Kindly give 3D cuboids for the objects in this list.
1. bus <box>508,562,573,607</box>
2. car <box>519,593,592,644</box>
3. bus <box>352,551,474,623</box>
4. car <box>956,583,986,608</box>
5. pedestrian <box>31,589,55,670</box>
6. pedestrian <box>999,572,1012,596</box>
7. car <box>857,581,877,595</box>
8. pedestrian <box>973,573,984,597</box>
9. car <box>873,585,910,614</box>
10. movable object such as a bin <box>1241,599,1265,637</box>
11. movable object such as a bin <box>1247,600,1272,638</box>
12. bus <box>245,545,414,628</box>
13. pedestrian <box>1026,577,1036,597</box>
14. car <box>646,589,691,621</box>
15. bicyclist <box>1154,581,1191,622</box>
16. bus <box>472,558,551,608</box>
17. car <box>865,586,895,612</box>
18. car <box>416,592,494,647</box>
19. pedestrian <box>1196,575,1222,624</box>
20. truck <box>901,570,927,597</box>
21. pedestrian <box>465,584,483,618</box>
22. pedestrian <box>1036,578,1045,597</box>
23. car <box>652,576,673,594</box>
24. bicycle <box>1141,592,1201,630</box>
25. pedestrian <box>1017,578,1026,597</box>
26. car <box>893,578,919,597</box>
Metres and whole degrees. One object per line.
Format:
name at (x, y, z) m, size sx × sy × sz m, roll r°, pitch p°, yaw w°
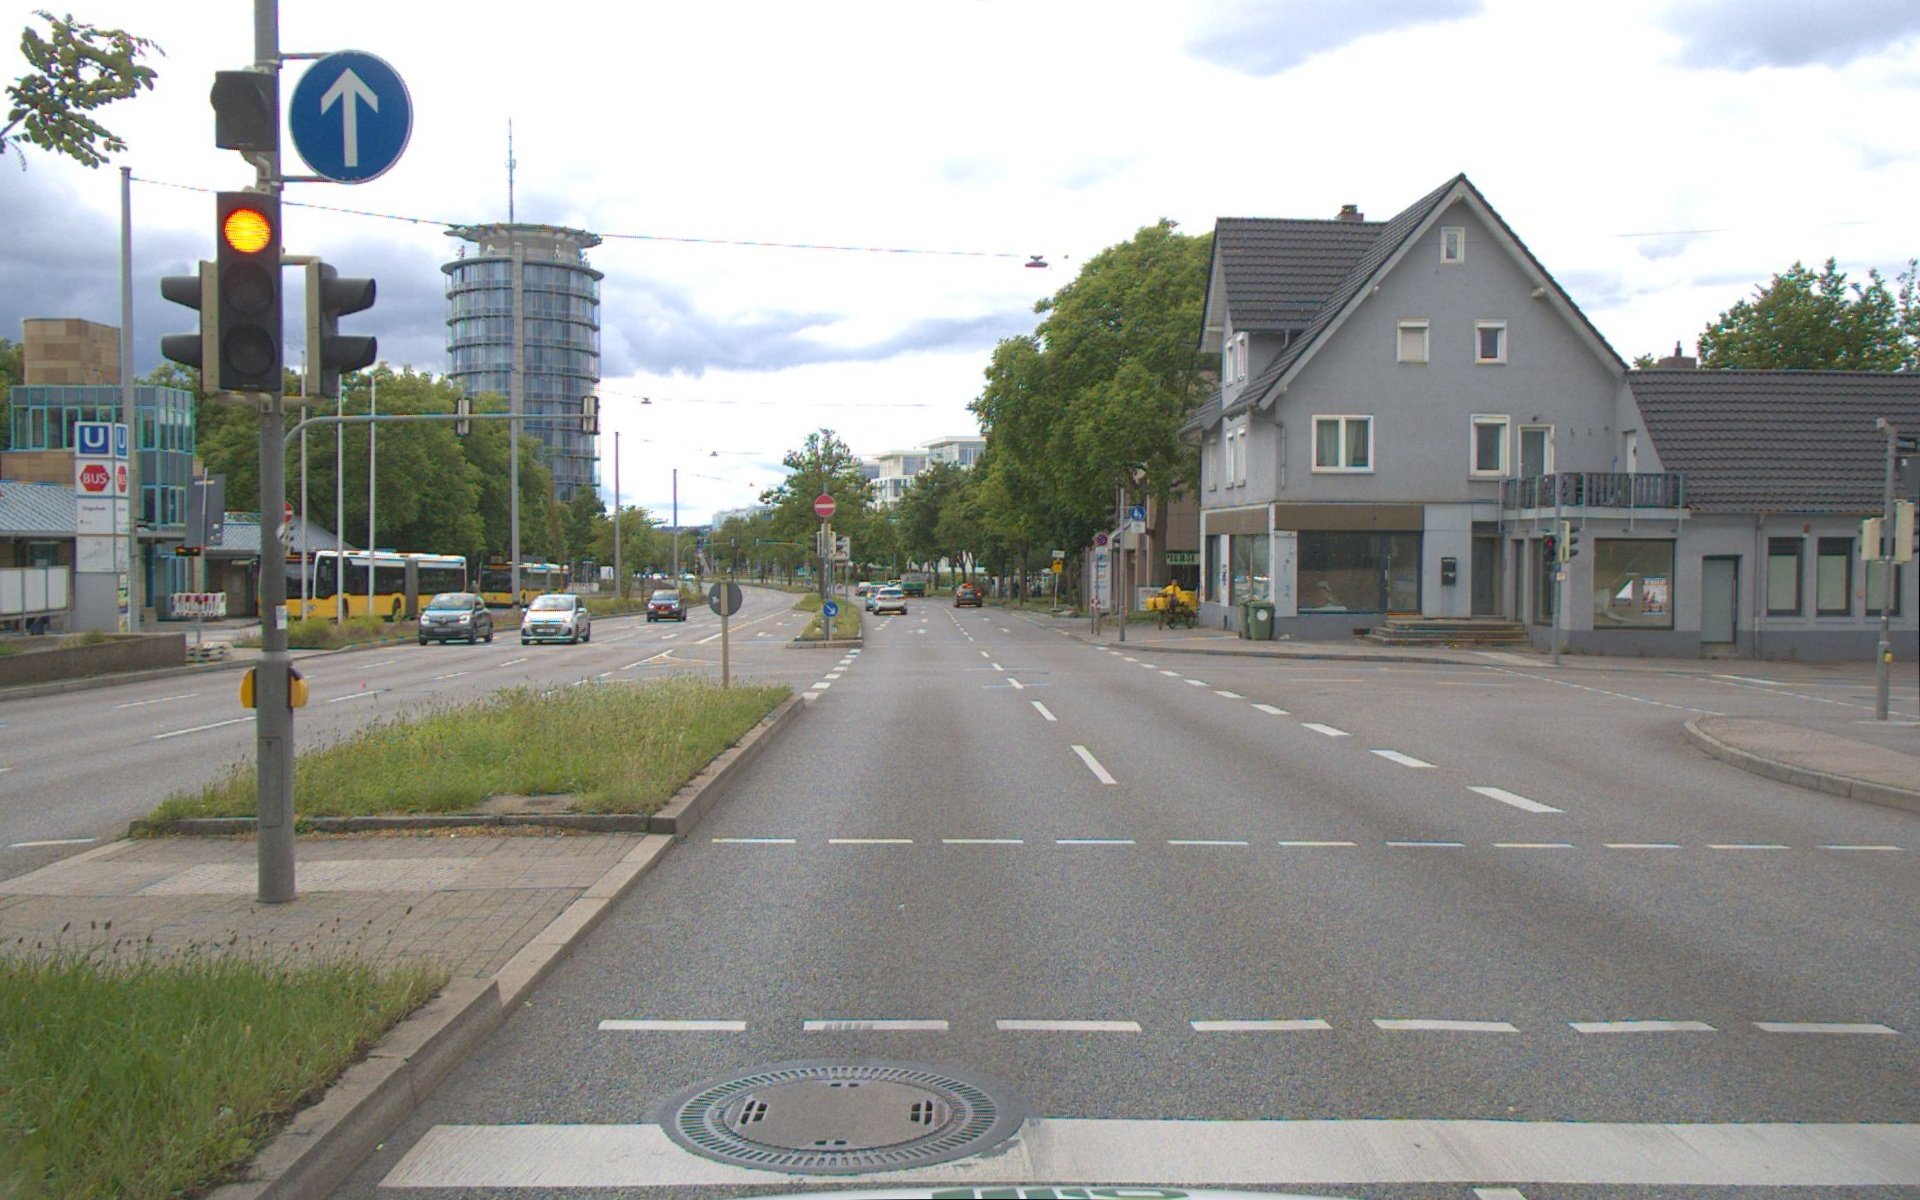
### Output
bus at (-31.152, -1.133, 123.000) m, size 3.081 × 3.281 × 7.762 m, roll 0°, pitch 0°, yaw -2°
car at (-12.366, 0.551, 50.717) m, size 1.651 × 1.488 × 3.552 m, roll 0°, pitch 0°, yaw -5°
bus at (-26.548, -0.612, 80.708) m, size 2.927 × 3.327 × 7.879 m, roll -1°, pitch 0°, yaw 3°
car at (0.678, -0.262, 109.117) m, size 1.851 × 1.521 × 4.097 m, roll -2°, pitch -1°, yaw -1°
pedestrian at (-18.392, 0.582, 33.160) m, size 0.414 × 1.619 × 0.353 m, roll 0°, pitch 0°, yaw -30°
pedestrian at (3.817, -1.339, 138.495) m, size 0.951 × 2.049 × 0.981 m, roll 1°, pitch -1°, yaw -2°
car at (-9.728, -1.264, 173.015) m, size 1.929 × 1.444 × 4.017 m, roll 0°, pitch 0°, yaw -6°
pedestrian at (1.853, -1.455, 165.021) m, size 0.914 × 2.349 × 1.008 m, roll 1°, pitch -1°, yaw -10°
car at (-3.789, -0.036, 91.484) m, size 1.953 × 1.503 × 4.255 m, roll 0°, pitch 0°, yaw -1°
movable object such as a bin at (7.966, 0.482, 44.944) m, size 0.518 × 0.997 × 0.736 m, roll 0°, pitch 0°, yaw -1°
movable object such as a bin at (7.997, 0.496, 44.154) m, size 0.518 × 0.997 × 0.736 m, roll 0°, pitch 0°, yaw -1°
bus at (-27.085, -0.559, 71.684) m, size 2.927 × 3.307 × 10.174 m, roll -1°, pitch 0°, yaw 3°
pedestrian at (5.830, -1.044, 135.715) m, size 0.638 × 1.597 × 0.669 m, roll 0°, pitch 0°, yaw -9°
car at (-14.226, 0.236, 80.880) m, size 1.668 × 1.518 × 3.561 m, roll -1°, pitch 0°, yaw -2°
bicyclist at (7.167, 0.060, 55.855) m, size 1.055 × 1.380 × 0.626 m, roll -1°, pitch 0°, yaw 35°
bus at (-30.790, -1.117, 114.002) m, size 3.082 × 3.281 × 10.279 m, roll 0°, pitch 0°, yaw -3°
car at (-5.001, -0.096, 102.657) m, size 1.787 × 1.567 × 4.111 m, roll 0°, pitch 0°, yaw -4°
car at (-15.474, 0.566, 50.805) m, size 1.652 × 1.606 × 3.344 m, roll 0°, pitch 0°, yaw -6°
pedestrian at (9.287, -0.009, 61.709) m, size 0.692 × 1.811 × 0.868 m, roll -1°, pitch 0°, yaw 31°
truck at (-4.355, -1.539, 156.418) m, size 2.207 × 2.459 × 4.927 m, roll 0°, pitch 0°, yaw -5°
pedestrian at (-27.365, 0.069, 93.150) m, size 0.669 × 1.930 × 0.663 m, roll -1°, pitch 0°, yaw 23°
pedestrian at (6.589, -1.037, 135.612) m, size 0.638 × 1.597 × 0.669 m, roll 0°, pitch 0°, yaw -9°
car at (-35.917, -1.833, 199.732) m, size 1.925 × 2.049 × 3.999 m, roll 1°, pitch 0°, yaw -1°
bicycle at (7.127, 0.368, 55.768) m, size 1.055 × 1.239 × 2.432 m, roll -1°, pitch 0°, yaw 33°
pedestrian at (5.044, -1.027, 135.692) m, size 0.638 × 1.597 × 0.669 m, roll 0°, pitch 0°, yaw -9°
car at (-5.410, -1.247, 164.994) m, size 2.207 × 1.787 × 4.927 m, roll 0°, pitch 0°, yaw -5°
